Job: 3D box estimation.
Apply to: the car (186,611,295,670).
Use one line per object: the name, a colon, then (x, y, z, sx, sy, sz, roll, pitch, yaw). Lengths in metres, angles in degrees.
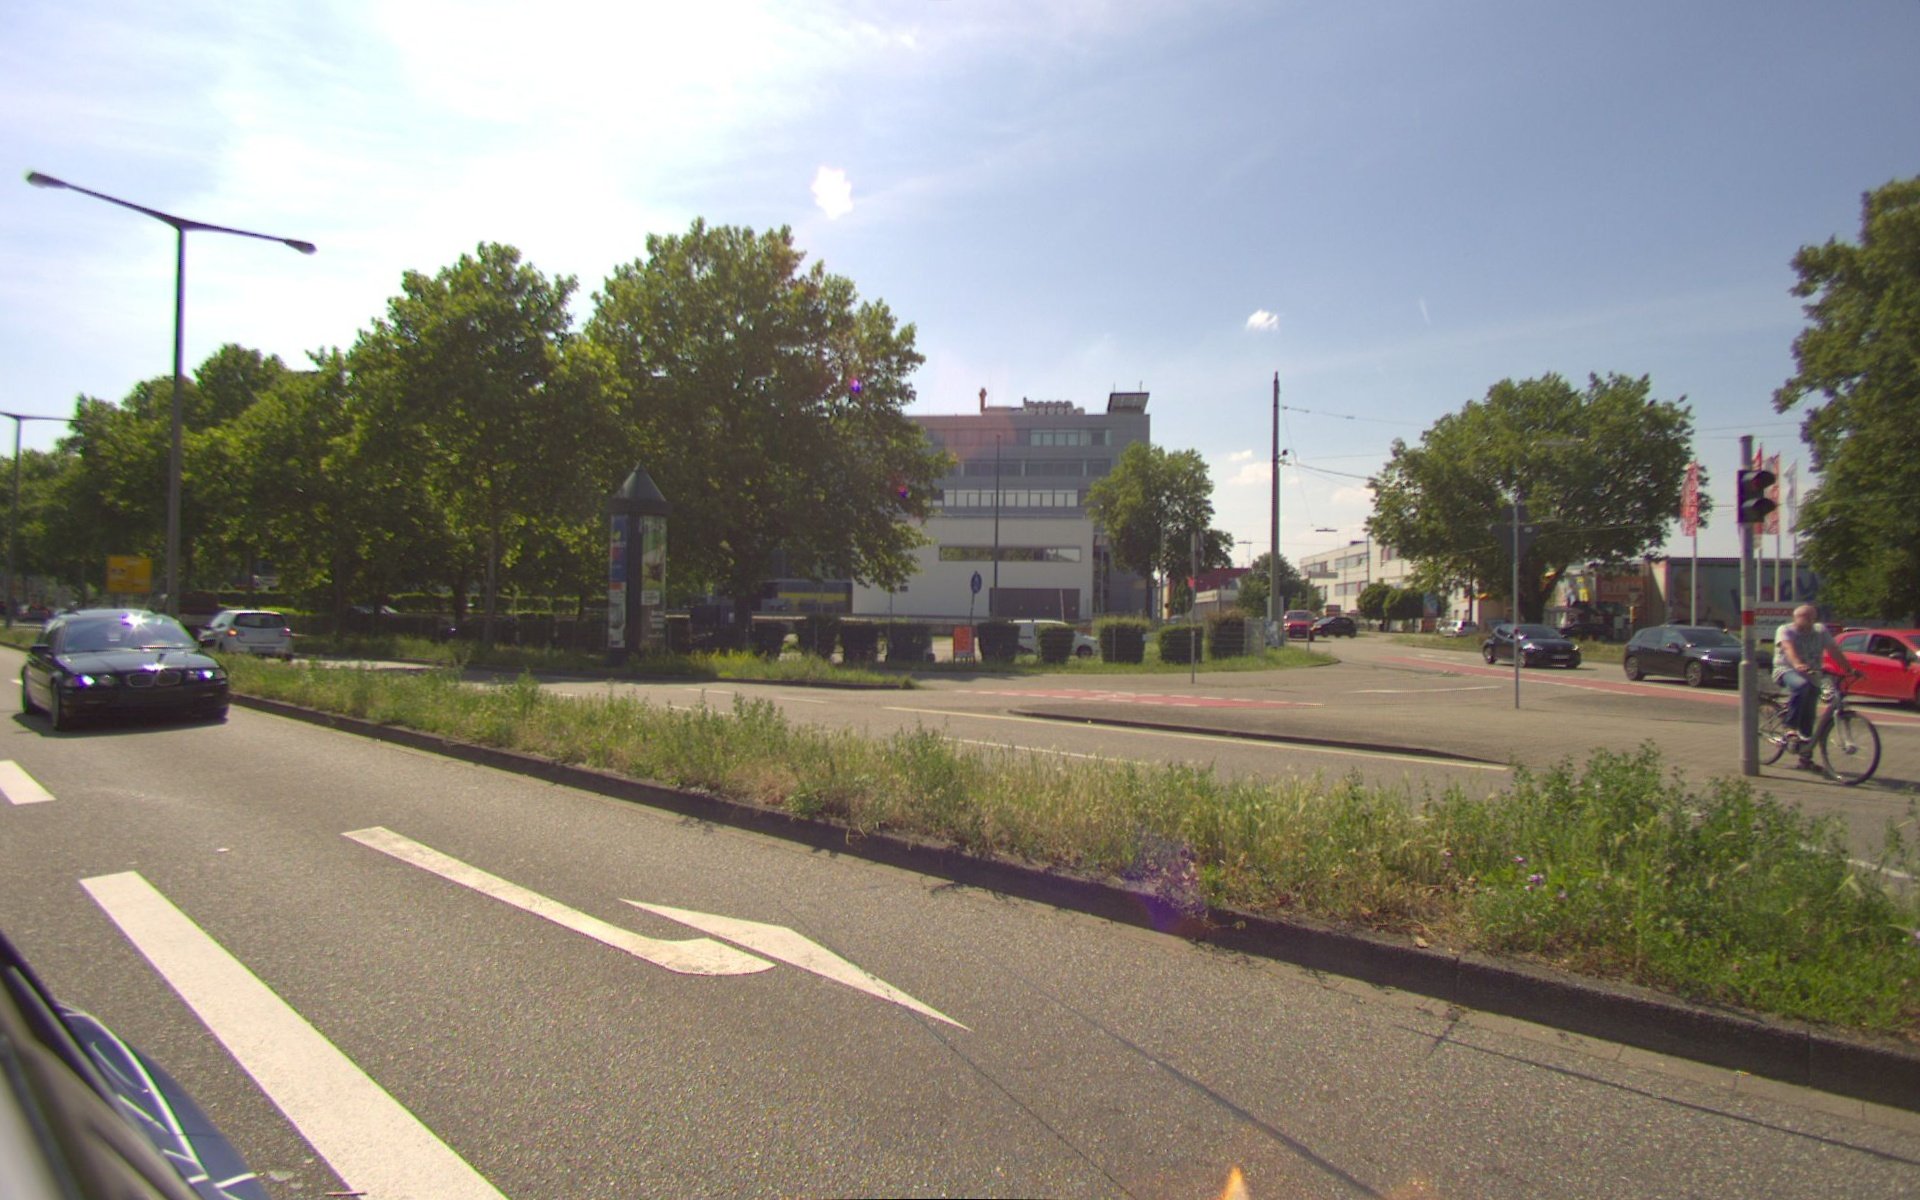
car: (-19.854, 1.079, 27.881, 3.734, 1.525, 1.632, -1, -2, 41)

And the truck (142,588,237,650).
truck: (-33.833, 0.833, 44.337, 7.129, 2.494, 2.116, -1, -2, 43)

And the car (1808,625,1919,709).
car: (17.843, 1.201, 18.305, 1.824, 1.460, 3.994, 0, -1, 5)

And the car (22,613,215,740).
car: (-10.892, 0.867, 13.265, 1.704, 1.372, 4.075, 0, 0, -38)

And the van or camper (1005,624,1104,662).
van or camper: (4.328, 1.974, 46.933, 4.453, 1.705, 1.998, 0, -1, 4)

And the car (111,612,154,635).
car: (-54.276, 1.524, 66.376, 1.818, 1.433, 3.898, 3, -2, -44)

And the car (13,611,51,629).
car: (-77.841, 1.654, 84.902, 4.219, 1.433, 1.820, -1, -4, 41)

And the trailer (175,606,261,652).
trailer: (-29.729, 1.143, 40.523, 3.990, 1.729, 2.039, -1, -2, 43)

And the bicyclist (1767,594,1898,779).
bicyclist: (8.838, 0.846, 10.282, 0.698, 1.802, 0.765, 0, -1, 12)

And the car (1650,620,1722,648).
car: (53.820, 2.492, 75.086, 3.974, 2.029, 1.985, 0, -1, 23)

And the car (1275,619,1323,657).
car: (21.331, 2.356, 63.858, 2.129, 2.295, 5.024, 0, -1, 10)

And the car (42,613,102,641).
car: (-47.530, 1.449, 54.162, 3.764, 1.445, 1.829, -2, -3, 40)

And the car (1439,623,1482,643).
car: (38.098, 2.491, 77.093, 1.679, 1.438, 3.853, 0, -1, 6)

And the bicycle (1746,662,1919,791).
bicycle: (8.833, 1.208, 10.193, 0.520, 1.072, 2.157, 0, -1, 11)

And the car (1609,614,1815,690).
car: (18.382, 1.231, 25.009, 1.971, 1.712, 4.001, 1, -1, -2)

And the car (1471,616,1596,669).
car: (19.570, 1.413, 34.765, 1.972, 1.712, 4.000, 0, -1, -1)
